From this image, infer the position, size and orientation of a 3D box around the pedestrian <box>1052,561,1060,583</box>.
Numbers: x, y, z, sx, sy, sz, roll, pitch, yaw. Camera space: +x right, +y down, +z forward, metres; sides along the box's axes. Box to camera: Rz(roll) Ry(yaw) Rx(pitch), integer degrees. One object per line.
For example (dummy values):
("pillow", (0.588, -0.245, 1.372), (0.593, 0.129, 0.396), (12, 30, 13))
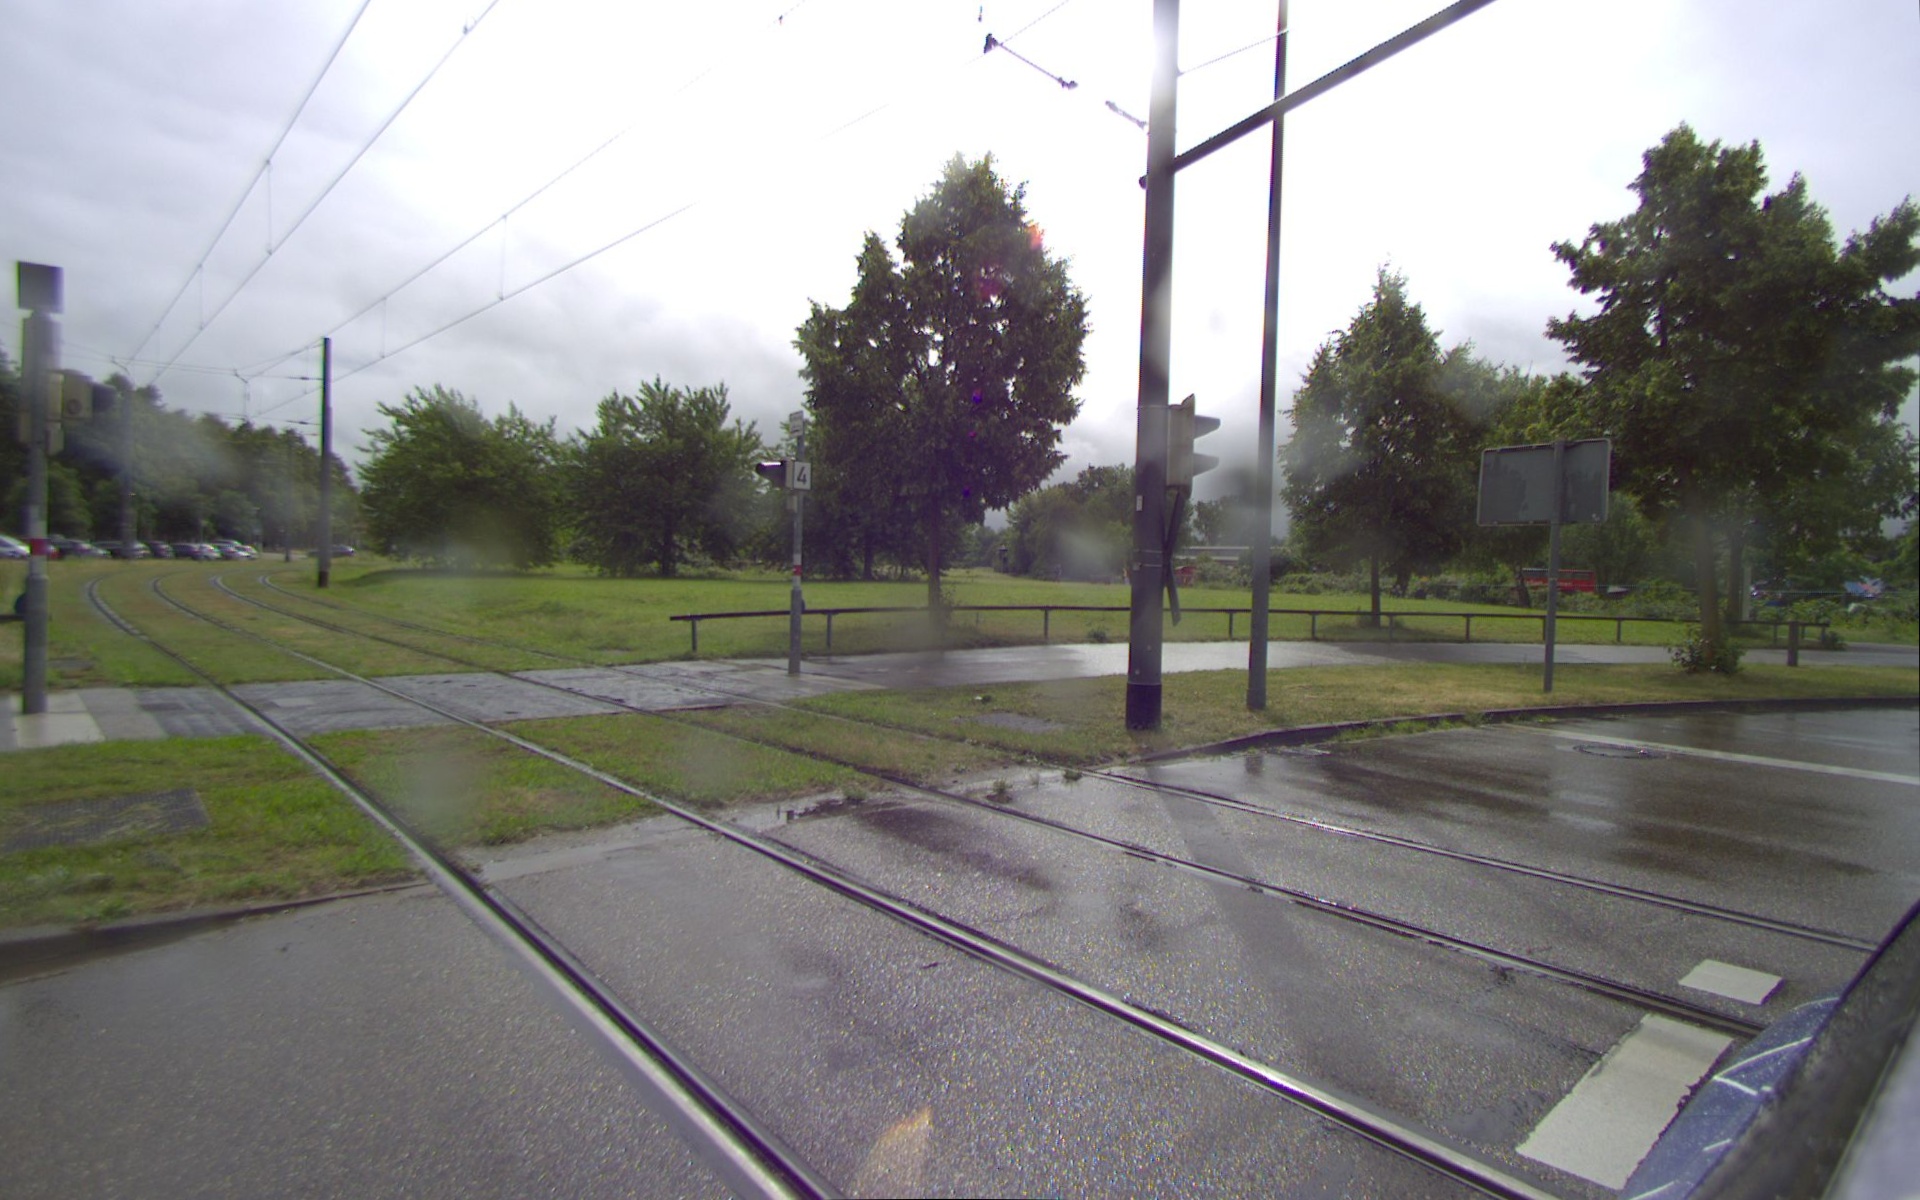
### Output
("pedestrian", (7.917, -2.273, 83.304), (0.595, 1.754, 0.598), (1, -1, 6))

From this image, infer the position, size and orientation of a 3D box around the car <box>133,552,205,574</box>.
("car", (-59.440, -2.788, 76.120), (3.895, 1.579, 1.855), (1, 2, -18))

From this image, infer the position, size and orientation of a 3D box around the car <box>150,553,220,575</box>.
("car", (-59.880, -2.791, 78.230), (3.895, 1.579, 1.855), (1, 2, -18))

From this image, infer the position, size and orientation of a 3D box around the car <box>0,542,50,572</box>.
("car", (-53.244, -2.403, 55.959), (3.895, 1.579, 1.855), (1, 2, -18))

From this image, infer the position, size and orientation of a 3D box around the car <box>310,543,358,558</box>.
("car", (-70.913, -5.599, 114.635), (4.311, 1.579, 1.855), (1, 2, -18))

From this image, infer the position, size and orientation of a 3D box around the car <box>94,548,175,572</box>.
("car", (-56.835, -2.740, 69.735), (3.895, 1.579, 1.855), (1, 2, -18))

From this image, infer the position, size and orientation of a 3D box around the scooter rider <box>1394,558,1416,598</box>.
("scooter rider", (22.746, -1.116, 51.722), (0.691, 2.039, 0.772), (2, -1, -11))

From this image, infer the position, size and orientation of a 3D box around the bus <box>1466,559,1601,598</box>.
("bus", (53.975, -2.027, 95.478), (10.918, 3.504, 1.974), (1, -1, 36))

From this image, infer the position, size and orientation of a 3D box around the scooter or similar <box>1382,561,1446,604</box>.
("scooter or similar", (22.801, -0.851, 50.937), (1.214, 2.039, 3.414), (2, 0, -8))

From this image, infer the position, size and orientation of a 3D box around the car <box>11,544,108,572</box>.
("car", (-53.423, -2.480, 60.138), (3.895, 1.579, 1.855), (1, 2, -18))

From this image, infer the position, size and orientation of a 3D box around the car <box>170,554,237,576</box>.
("car", (-60.268, -2.791, 80.711), (3.895, 1.579, 1.855), (1, 2, -18))

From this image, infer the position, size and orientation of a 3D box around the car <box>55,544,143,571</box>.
("car", (-55.074, -2.701, 64.828), (3.895, 1.579, 1.855), (1, 2, -18))

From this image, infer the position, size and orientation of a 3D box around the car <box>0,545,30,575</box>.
("car", (-51.416, -2.125, 52.777), (3.895, 1.579, 1.855), (1, 2, -18))

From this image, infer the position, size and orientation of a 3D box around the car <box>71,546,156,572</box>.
("car", (-56.295, -2.734, 67.388), (3.895, 1.579, 1.855), (1, 2, -18))
